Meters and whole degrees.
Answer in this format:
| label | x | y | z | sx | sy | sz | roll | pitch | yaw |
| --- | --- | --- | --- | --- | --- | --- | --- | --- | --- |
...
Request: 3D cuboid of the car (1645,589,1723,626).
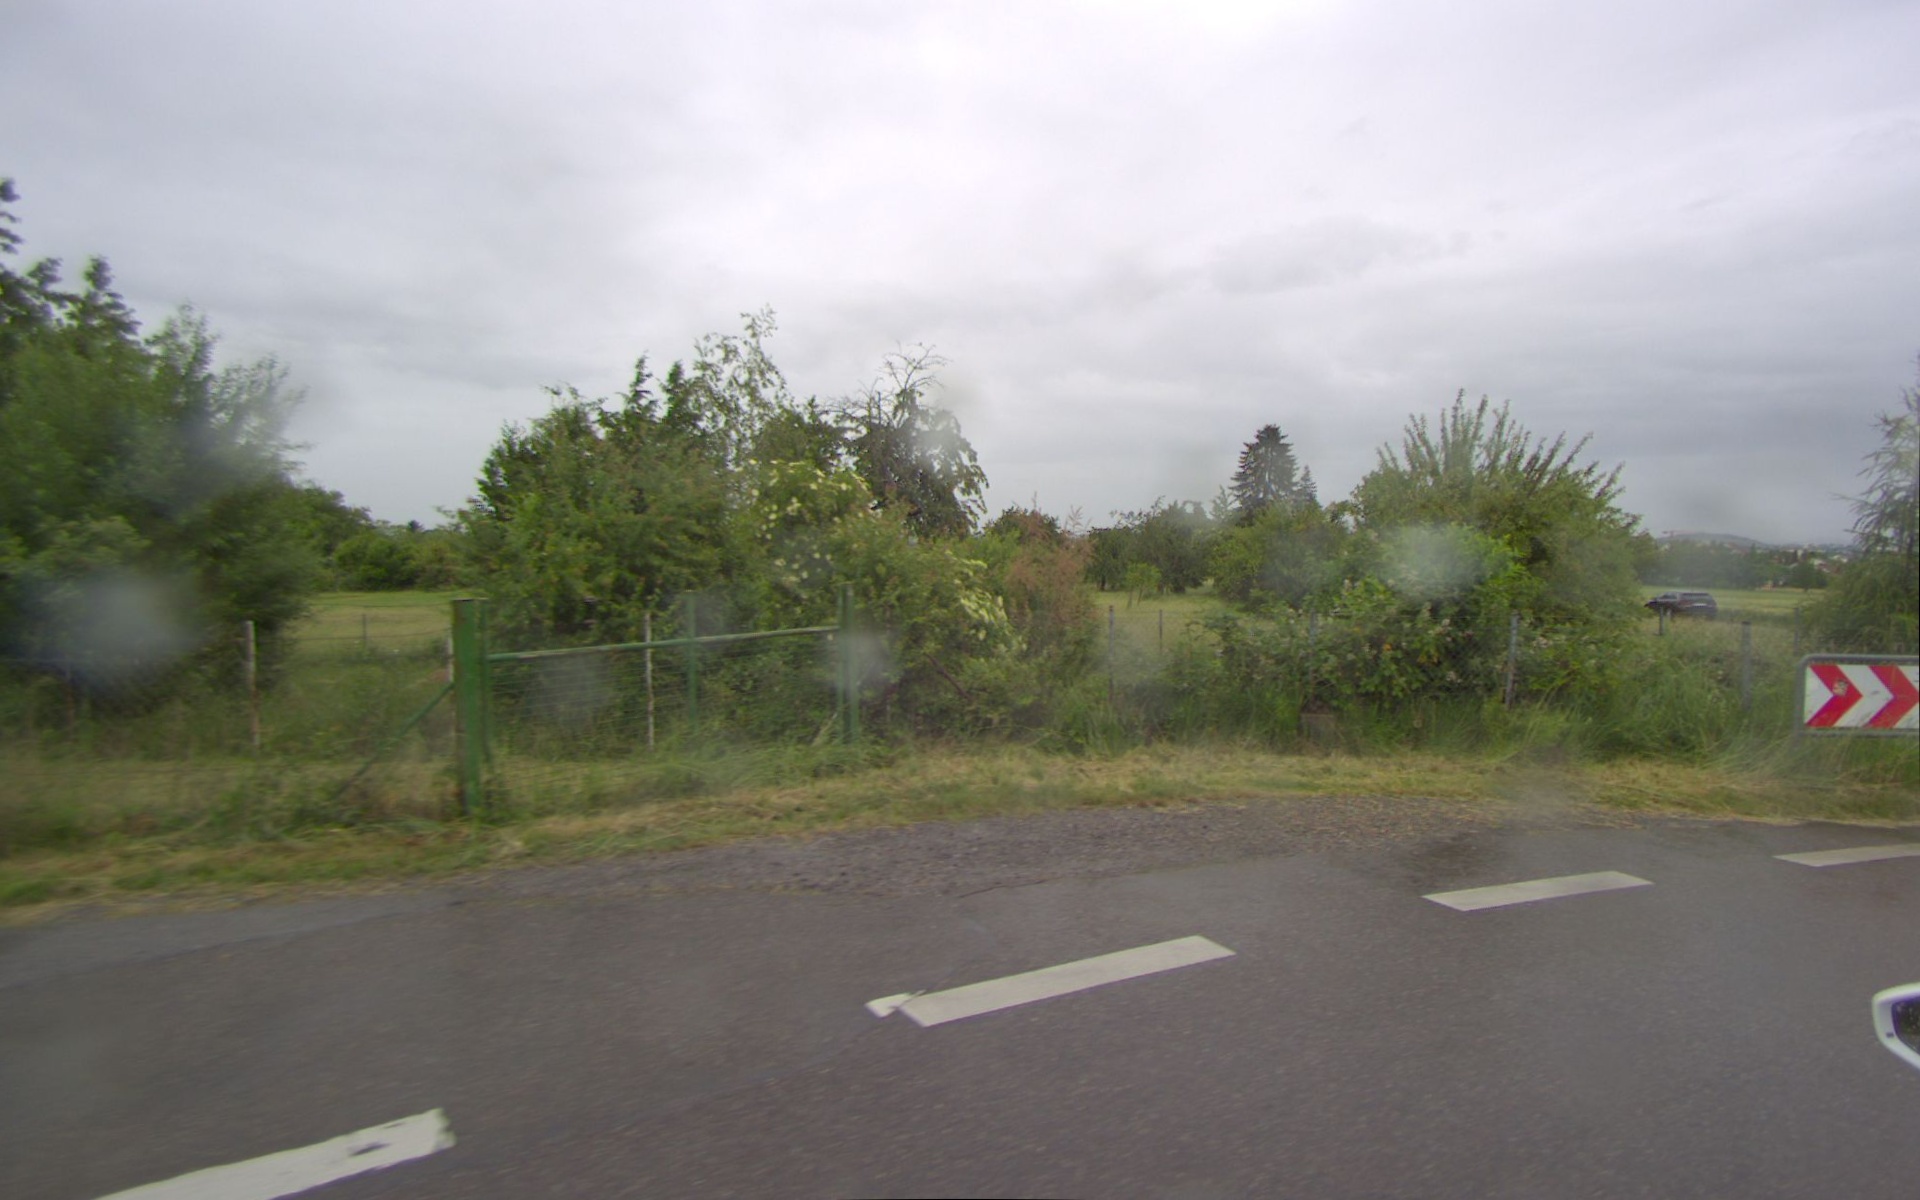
| label | x | y | z | sx | sy | sz | roll | pitch | yaw |
| --- | --- | --- | --- | --- | --- | --- | --- | --- | --- |
| car | 34.188 | 0.319 | 47.536 | 1.784 | 1.615 | 4.000 | 1 | 1 | 18 |
